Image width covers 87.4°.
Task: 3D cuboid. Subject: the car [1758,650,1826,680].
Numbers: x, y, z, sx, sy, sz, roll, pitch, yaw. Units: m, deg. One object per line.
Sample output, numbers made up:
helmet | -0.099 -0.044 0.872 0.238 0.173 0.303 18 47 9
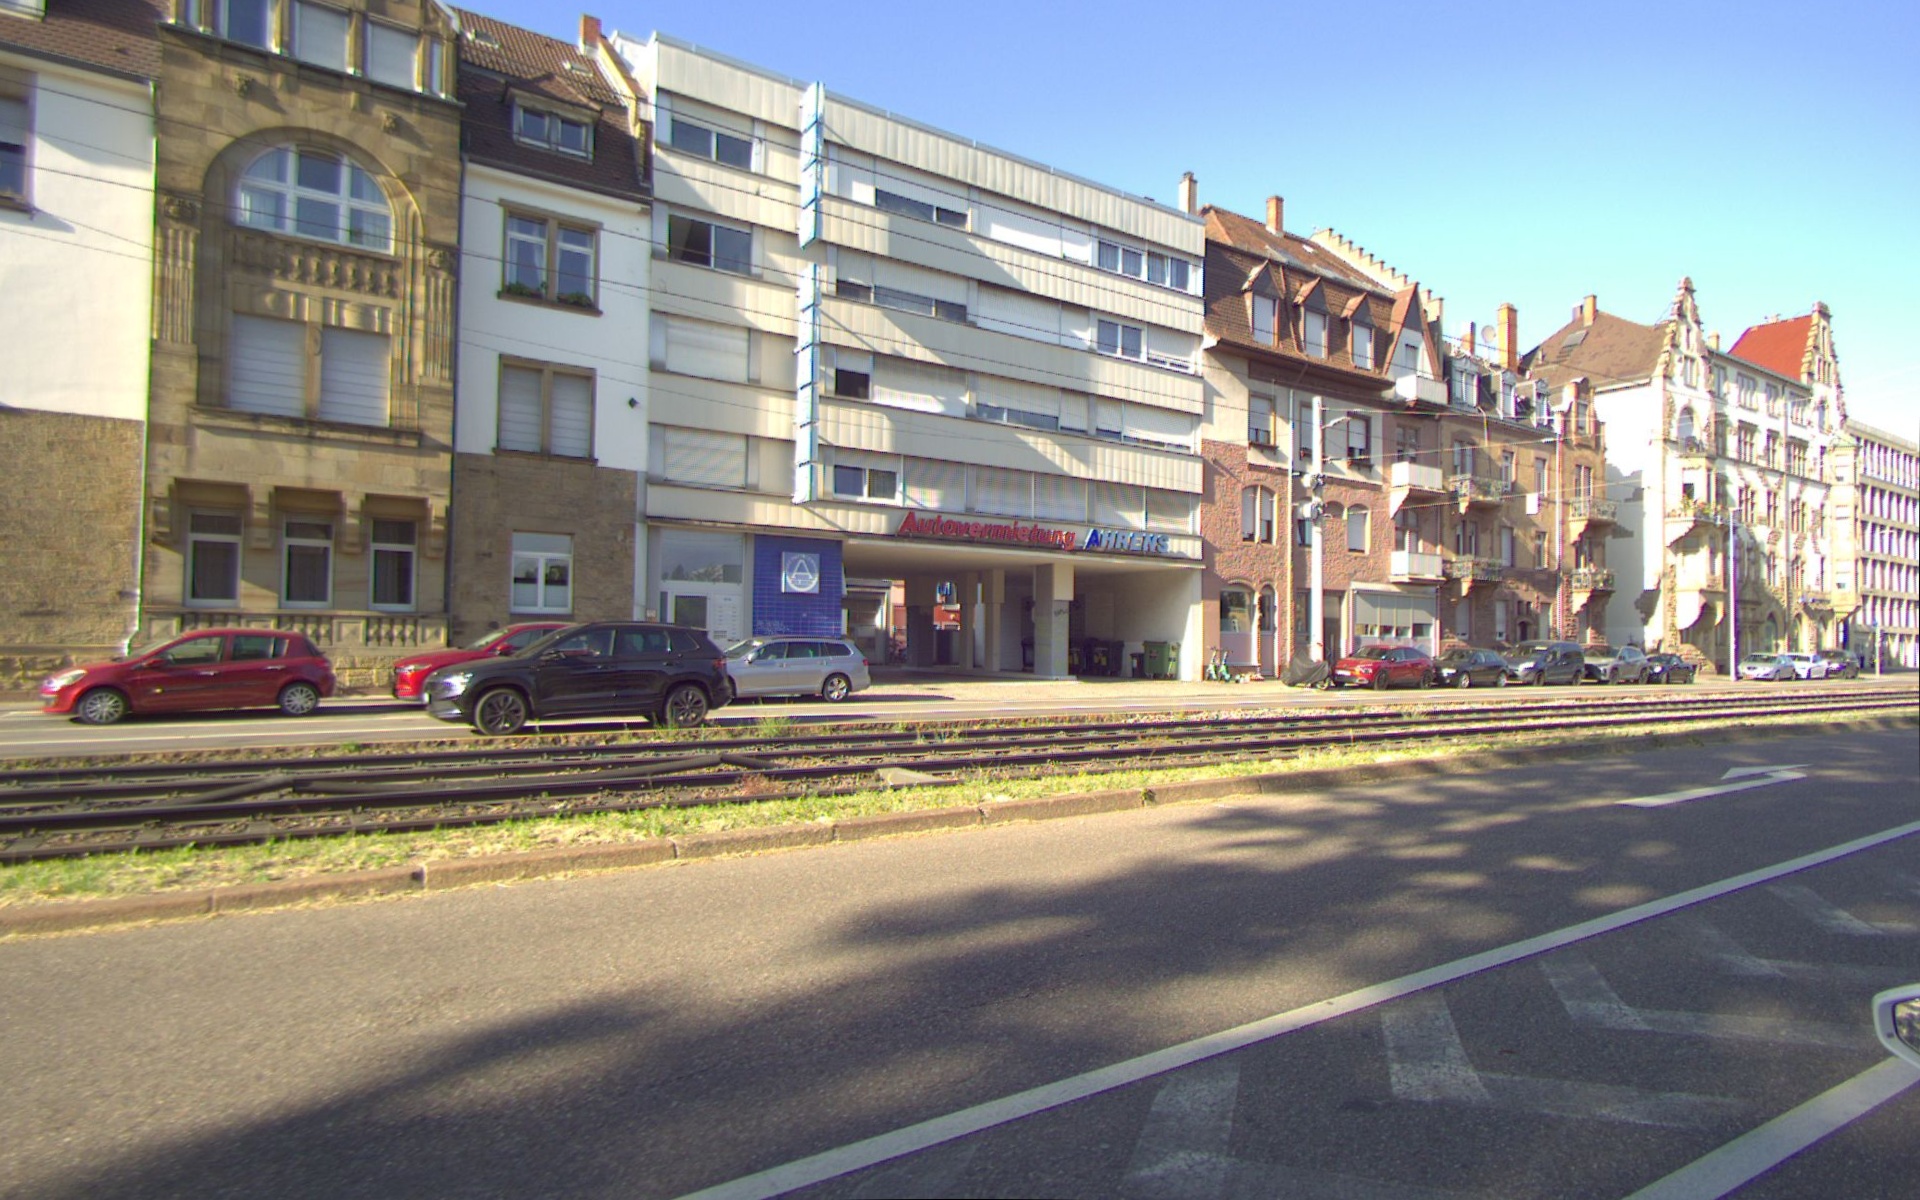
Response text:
car | 46.372 3.607 55.980 4.141 1.530 1.783 2 1 -34

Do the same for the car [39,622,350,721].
car | -12.873 1.171 17.159 3.999 1.409 1.820 3 0 -37

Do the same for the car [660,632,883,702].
car | -4.224 1.495 22.817 4.632 1.409 1.823 3 -2 -33

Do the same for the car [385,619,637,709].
car | -8.807 1.247 19.813 4.305 1.578 1.824 3 -1 -32

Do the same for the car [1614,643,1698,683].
car | 32.069 2.891 46.271 4.154 1.674 1.677 2 1 -33

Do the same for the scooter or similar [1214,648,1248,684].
scooter or similar | 9.434 2.298 34.952 1.187 1.221 0.389 3 0 -32

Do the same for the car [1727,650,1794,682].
car | 42.193 3.451 52.914 3.963 1.530 1.781 2 1 -37

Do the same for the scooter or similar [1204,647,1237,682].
scooter or similar | 9.202 2.279 35.470 1.187 1.221 0.389 3 0 -32

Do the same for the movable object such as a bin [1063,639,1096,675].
movable object such as a bin | 4.653 2.217 39.301 0.628 1.389 1.260 2 -3 -32

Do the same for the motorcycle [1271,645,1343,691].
motorcycle | 11.479 2.241 33.268 2.045 1.344 0.836 3 1 43

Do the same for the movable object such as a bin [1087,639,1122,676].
movable object such as a bin | 5.494 2.187 38.254 0.629 1.389 1.258 2 -3 -35

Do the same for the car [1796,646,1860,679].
car | 51.176 3.679 59.175 4.141 1.742 1.783 2 1 -34

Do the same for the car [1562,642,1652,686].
car | 27.966 2.751 43.384 4.154 1.674 1.677 2 1 -33

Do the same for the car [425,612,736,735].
car | -5.640 1.074 15.151 4.117 1.622 1.625 2 -4 -35

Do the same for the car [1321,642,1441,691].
car | 14.649 2.291 34.913 4.221 1.479 1.783 2 1 -34

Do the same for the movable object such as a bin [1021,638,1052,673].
movable object such as a bin | 3.175 2.296 41.653 0.628 1.389 1.260 2 -3 -32

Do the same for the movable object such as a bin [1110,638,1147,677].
movable object such as a bin | 6.197 2.119 36.975 0.630 1.389 1.184 2 -2 -38

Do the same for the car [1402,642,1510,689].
car | 18.421 2.411 37.261 3.957 1.530 1.784 2 1 -33

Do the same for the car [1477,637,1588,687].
car | 22.821 2.458 40.013 4.402 1.777 1.786 2 1 -30

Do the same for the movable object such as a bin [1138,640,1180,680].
movable object such as a bin | 7.090 2.133 35.869 0.630 1.389 1.400 2 -2 -38
